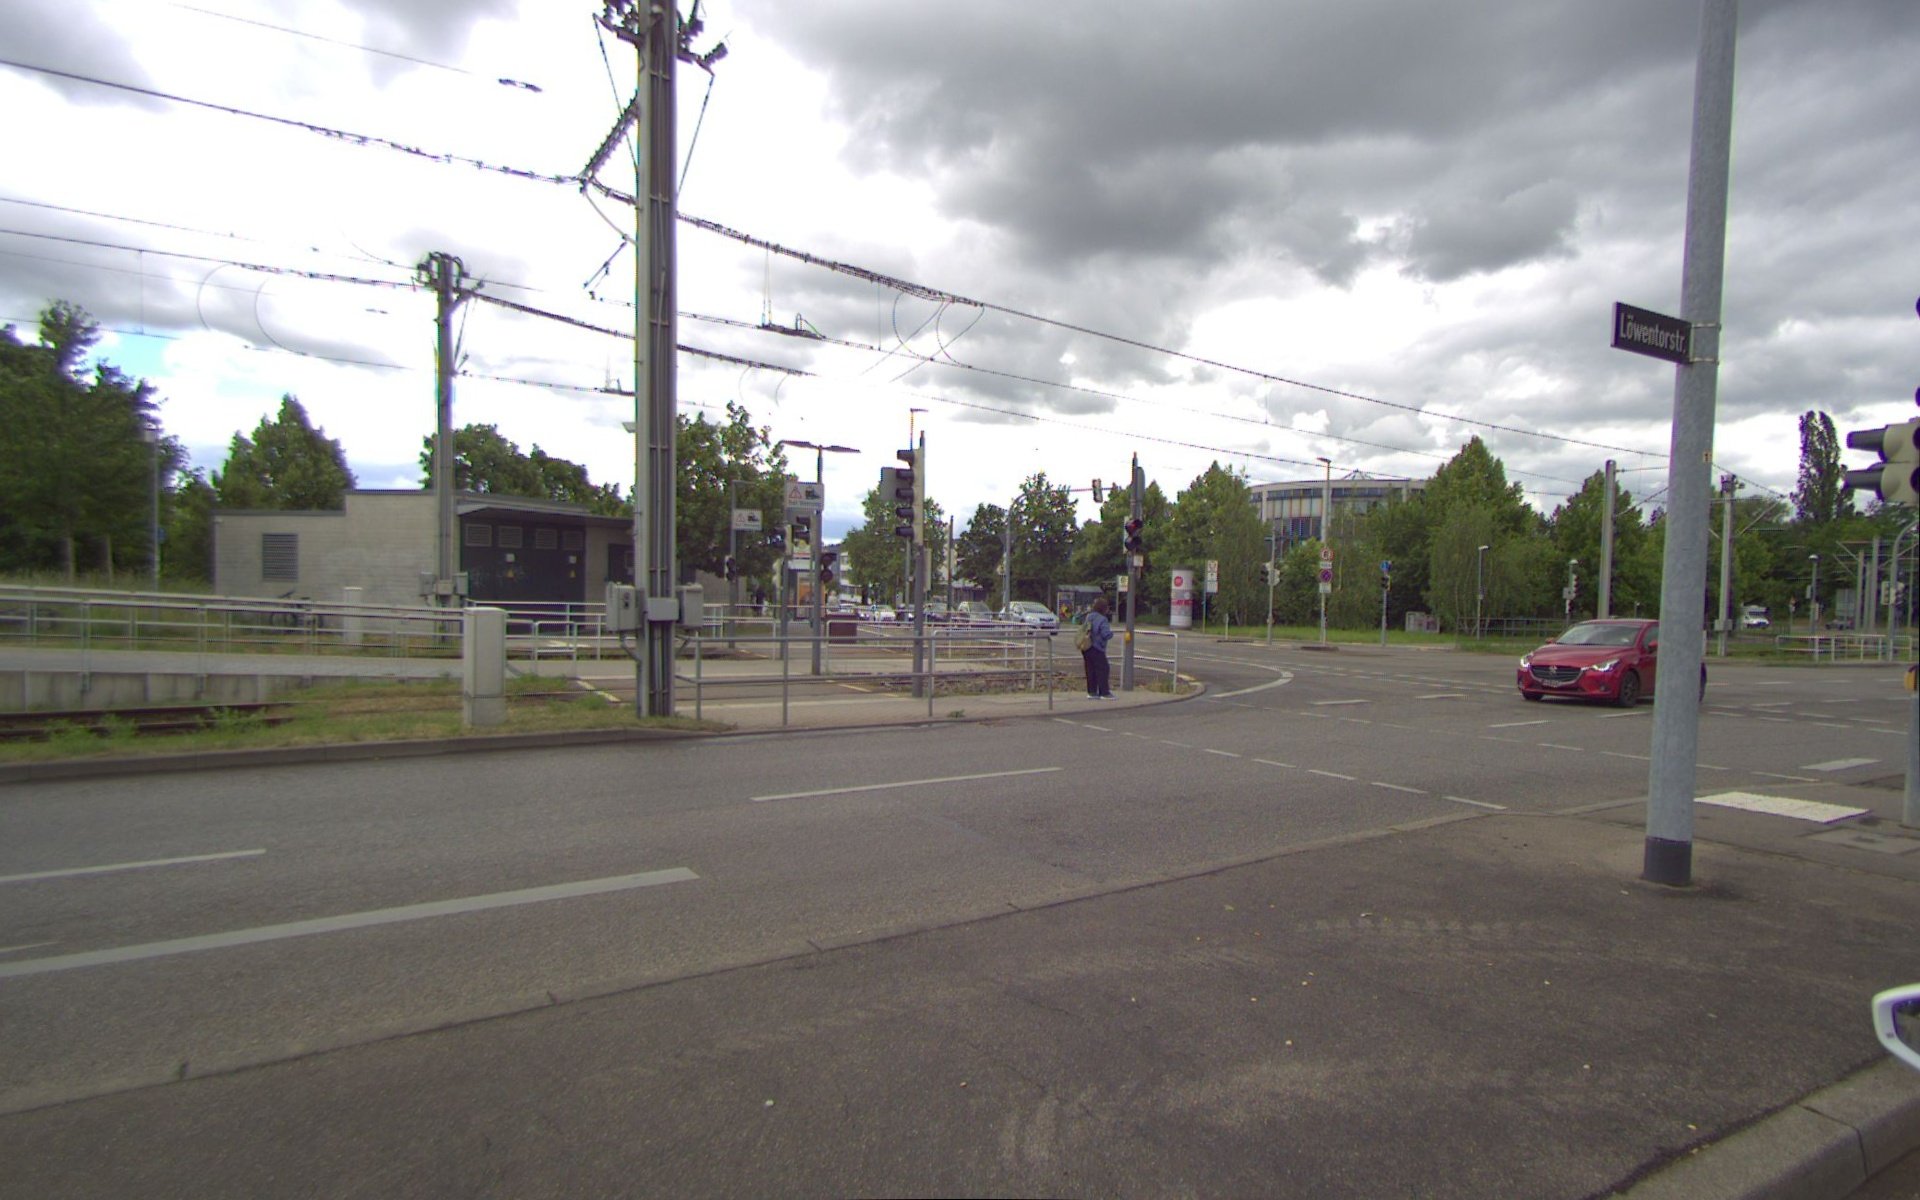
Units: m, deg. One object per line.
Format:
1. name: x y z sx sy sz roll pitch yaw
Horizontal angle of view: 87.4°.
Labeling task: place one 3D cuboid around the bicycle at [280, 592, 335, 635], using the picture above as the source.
1. bicycle: -17.333 0.346 26.683 1.452 1.101 0.492 1 0 22

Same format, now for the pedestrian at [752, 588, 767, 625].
1. pedestrian: -11.136 0.359 55.782 0.738 1.993 0.795 1 0 -9

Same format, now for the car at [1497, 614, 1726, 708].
1. car: 11.630 1.018 17.849 4.377 1.462 1.771 1 -1 -33

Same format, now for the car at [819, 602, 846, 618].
1. car: -11.935 0.960 94.078 1.706 1.456 3.731 1 0 -20

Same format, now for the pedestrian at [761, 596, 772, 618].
1. pedestrian: -15.054 0.553 78.306 0.695 1.649 0.629 1 0 -24

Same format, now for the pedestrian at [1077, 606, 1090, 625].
1. pedestrian: 8.781 1.077 71.609 0.652 1.322 0.780 1 0 -16

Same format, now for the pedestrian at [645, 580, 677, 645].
1. pedestrian: -7.576 0.307 25.478 0.696 1.628 0.654 1 0 -22

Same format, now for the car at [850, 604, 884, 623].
1. car: -7.423 1.021 79.690 1.706 1.456 3.991 1 0 -20

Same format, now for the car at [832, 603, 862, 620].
1. car: -9.773 0.985 86.721 1.706 1.456 3.731 1 0 -20

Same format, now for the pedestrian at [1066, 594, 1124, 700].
1. pedestrian: 2.075 0.702 15.444 0.701 1.584 0.533 1 1 -44

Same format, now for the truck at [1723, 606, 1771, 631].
1. truck: 104.588 2.370 133.553 2.079 3.176 5.903 2 0 5

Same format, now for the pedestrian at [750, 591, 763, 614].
1. pedestrian: -14.839 0.203 73.323 0.771 1.649 0.660 1 0 -22

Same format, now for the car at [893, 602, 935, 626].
1. car: -3.009 0.887 64.936 1.706 1.456 3.731 1 0 -20

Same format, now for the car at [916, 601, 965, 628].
1. car: -1.155 0.815 58.170 1.706 1.456 3.731 1 0 -20

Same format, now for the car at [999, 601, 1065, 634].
1. car: 3.296 0.799 46.814 1.706 1.456 3.731 1 0 -20

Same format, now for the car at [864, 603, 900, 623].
1. car: -5.818 0.961 74.787 1.706 1.456 3.731 1 0 -20

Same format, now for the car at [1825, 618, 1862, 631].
1. car: 116.002 3.263 131.940 1.747 1.567 4.027 1 0 8

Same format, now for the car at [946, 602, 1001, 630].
1. car: 0.684 0.843 53.674 1.706 1.456 3.731 1 0 -20

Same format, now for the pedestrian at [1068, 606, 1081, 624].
1. pedestrian: 8.311 1.079 72.923 0.652 1.321 0.780 1 0 -16
